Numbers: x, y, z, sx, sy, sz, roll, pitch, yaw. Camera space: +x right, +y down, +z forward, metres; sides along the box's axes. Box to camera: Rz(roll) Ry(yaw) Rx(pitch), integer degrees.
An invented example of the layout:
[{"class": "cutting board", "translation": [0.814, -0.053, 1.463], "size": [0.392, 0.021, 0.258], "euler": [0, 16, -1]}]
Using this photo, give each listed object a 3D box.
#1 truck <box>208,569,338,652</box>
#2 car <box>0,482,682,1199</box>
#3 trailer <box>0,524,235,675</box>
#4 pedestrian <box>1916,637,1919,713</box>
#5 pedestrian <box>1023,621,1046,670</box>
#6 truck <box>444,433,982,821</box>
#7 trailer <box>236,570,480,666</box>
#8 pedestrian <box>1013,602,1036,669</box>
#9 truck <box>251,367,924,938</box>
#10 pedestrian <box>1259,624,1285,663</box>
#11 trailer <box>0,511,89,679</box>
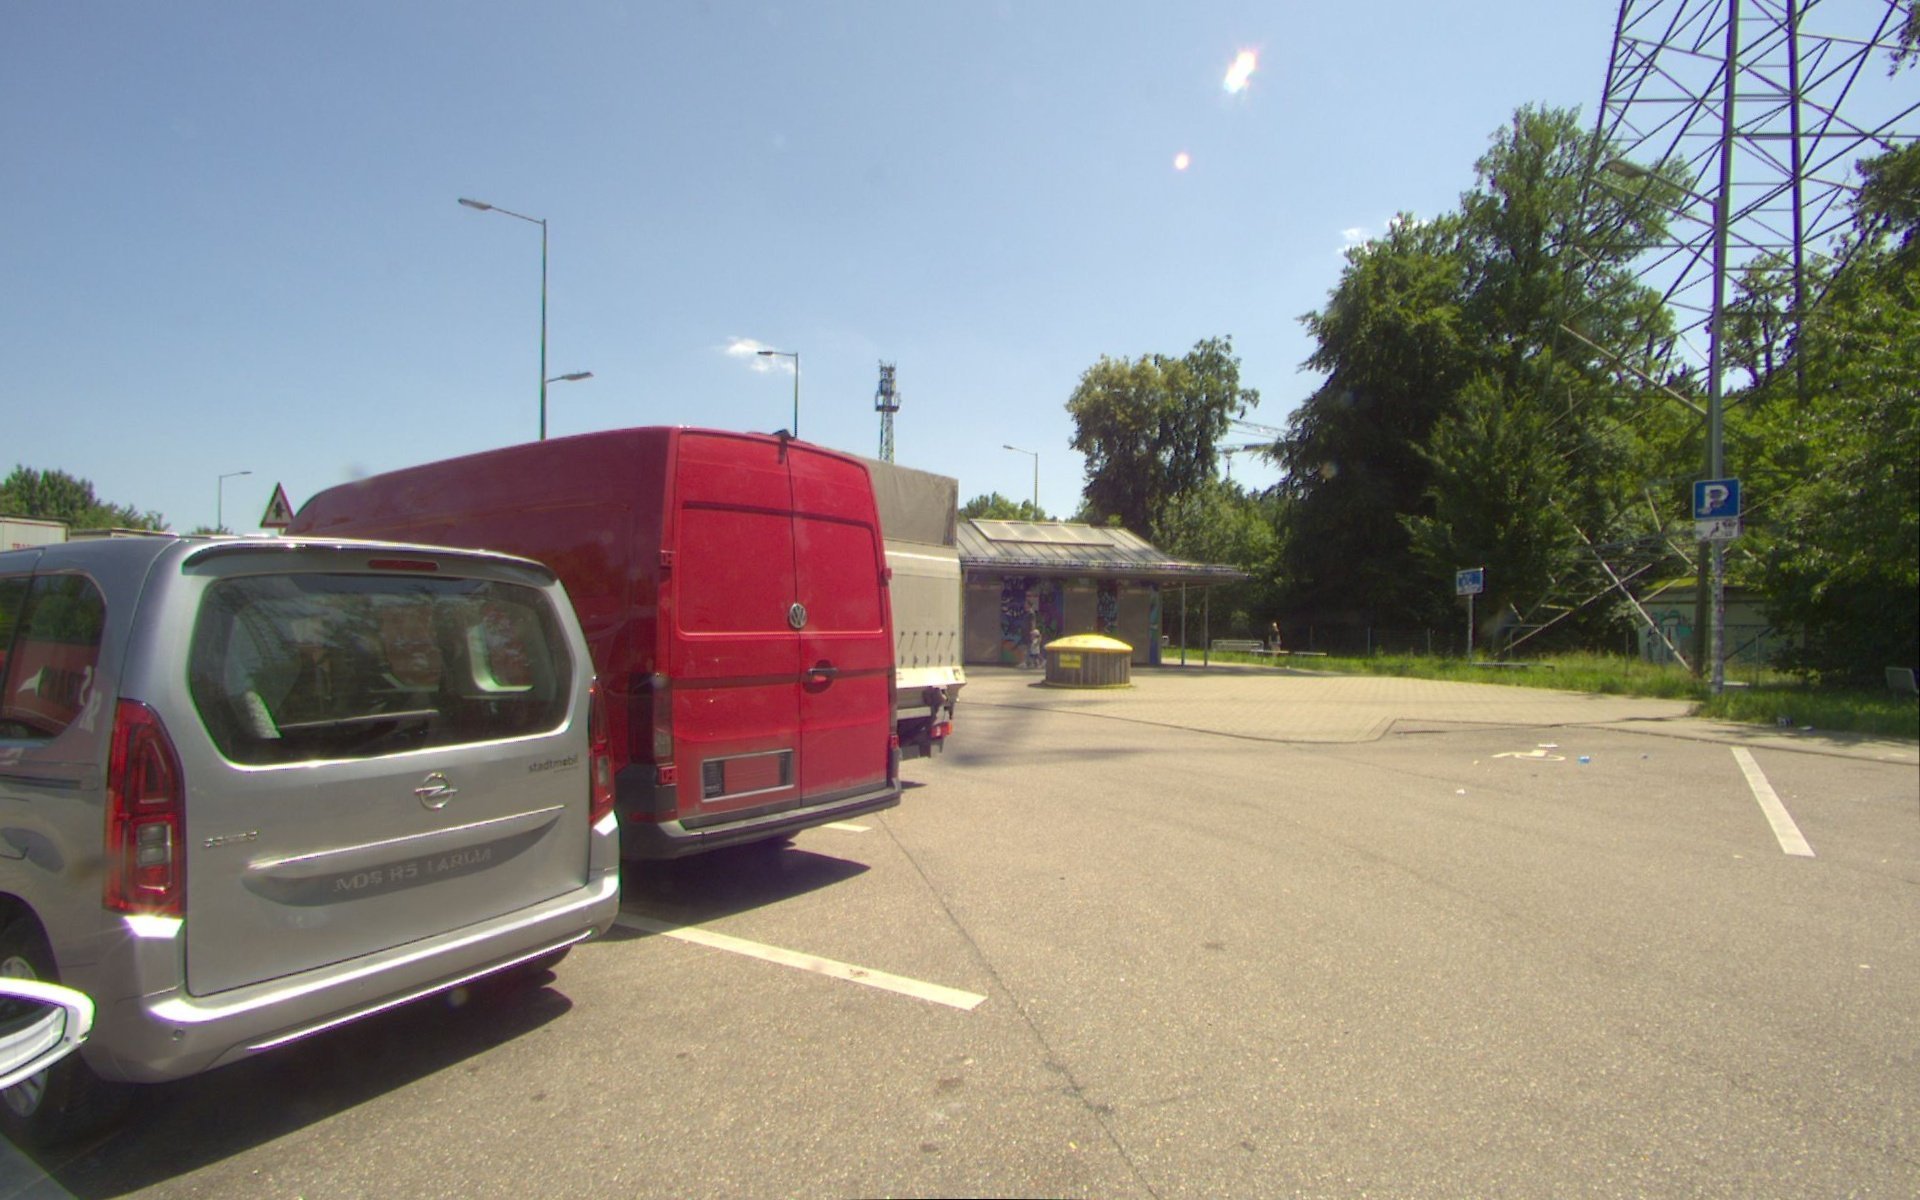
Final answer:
[{"class": "truck", "translation": [-32.100, 0.458, 46.764], "size": [5.813, 3.566, 2.799], "euler": [2, -2, 32]}, {"class": "car", "translation": [-3.382, 0.687, 4.257], "size": [4.113, 1.887, 1.868], "euler": [1, -2, 31]}, {"class": "trailer", "translation": [-27.957, -0.108, 31.792], "size": [14.184, 4.040, 2.808], "euler": [2, -2, 33]}, {"class": "pedestrian", "translation": [17.256, 1.323, 17.490], "size": [0.690, 1.352, 0.561], "euler": [-1, -1, 33]}, {"class": "pedestrian", "translation": [1.964, 1.196, 26.412], "size": [0.523, 1.254, 0.437], "euler": [0, -1, -10]}, {"class": "truck", "translation": [-2.738, 0.304, 10.296], "size": [5.581, 2.949, 2.449], "euler": [-2, -2, 37]}, {"class": "trailer", "translation": [-26.105, 0.638, 42.908], "size": [14.184, 3.552, 2.808], "euler": [2, -2, 33]}, {"class": "pedestrian", "translation": [1.745, 0.948, 27.009], "size": [0.523, 1.796, 0.437], "euler": [0, -1, -10]}, {"class": "truck", "translation": [-2.889, 0.337, 7.057], "size": [5.238, 2.655, 1.972], "euler": [-2, -2, 37]}, {"class": "pedestrian", "translation": [13.459, 1.884, 43.230], "size": [0.779, 1.658, 0.735], "euler": [0, -1, -20]}, {"class": "trailer", "translation": [-29.020, -0.266, 28.146], "size": [14.184, 4.040, 2.808], "euler": [2, -2, 33]}]
